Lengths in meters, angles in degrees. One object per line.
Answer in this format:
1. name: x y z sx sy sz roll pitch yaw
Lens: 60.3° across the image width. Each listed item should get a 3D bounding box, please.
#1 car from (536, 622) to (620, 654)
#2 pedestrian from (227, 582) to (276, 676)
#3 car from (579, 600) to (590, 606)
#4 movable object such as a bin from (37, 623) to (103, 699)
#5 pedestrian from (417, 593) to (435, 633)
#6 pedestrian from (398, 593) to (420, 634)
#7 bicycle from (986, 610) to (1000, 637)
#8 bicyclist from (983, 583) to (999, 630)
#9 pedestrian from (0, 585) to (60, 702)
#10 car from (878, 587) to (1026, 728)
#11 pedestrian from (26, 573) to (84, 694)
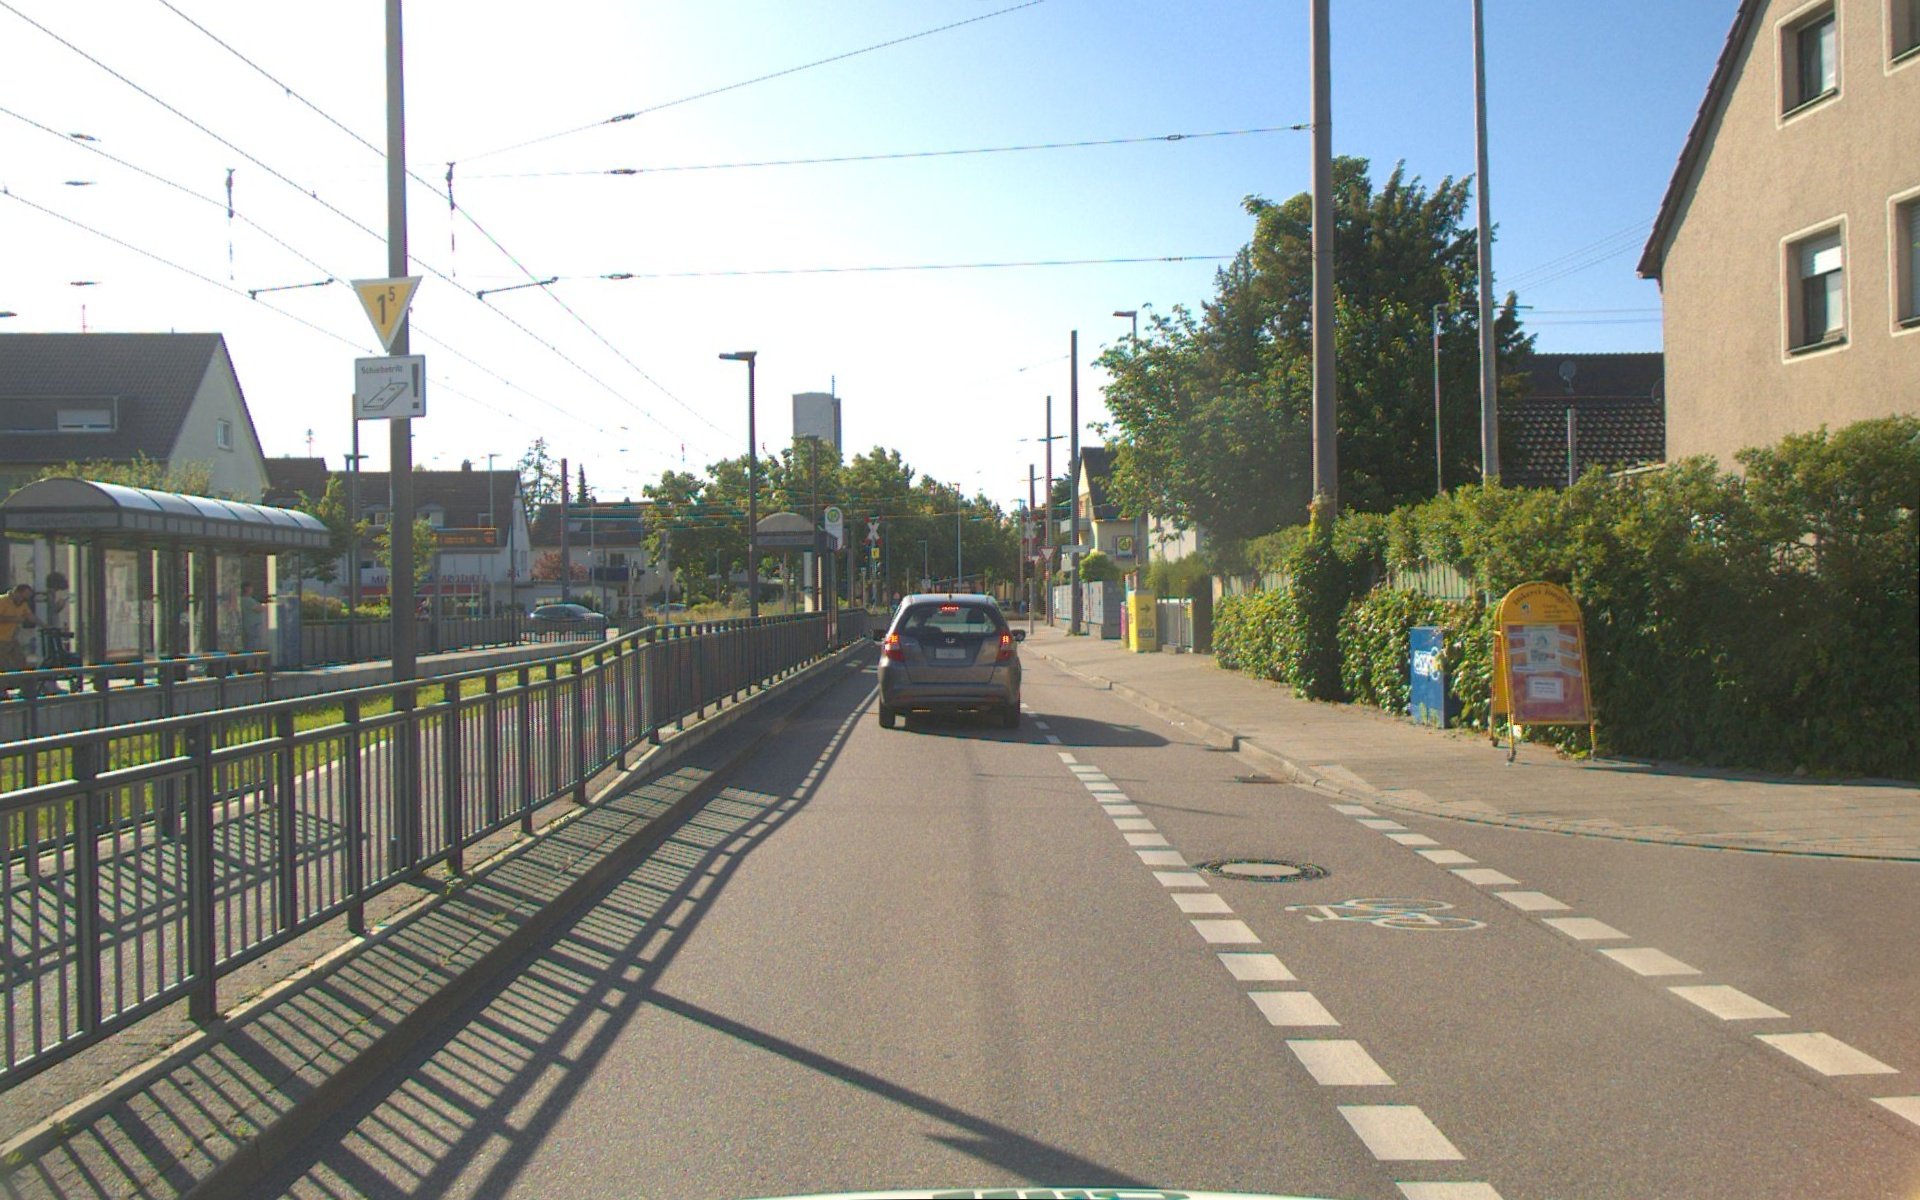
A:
1. car: -19.384 1.893 83.840 3.909 1.556 1.806 0 -1 27
2. pedestrian: -13.362 0.537 31.211 0.490 1.726 0.771 -3 0 0
3. car: -25.759 0.206 113.506 0.684 0.342 0.329 0 -1 4
4. movable object such as a bin: -12.224 0.833 22.734 0.535 1.005 0.741 -1 0 -5
5. pedestrian: -24.088 0.586 74.640 0.581 1.763 0.689 -1 0 -3
6. pedestrian: -24.323 0.576 72.991 0.714 1.793 0.771 -1 0 -3
7. bicycle: 1.221 0.879 61.070 0.465 0.978 1.657 0 -1 0
8. bicyclist: 1.139 0.247 60.867 0.586 1.731 0.683 0 -1 -1
9. pedestrian: -12.827 0.587 22.599 0.662 1.562 0.748 -1 0 -5
10. car: -0.136 0.634 20.134 1.637 1.562 3.486 0 0 -2
11. pedestrian: -13.170 0.480 24.079 0.509 1.738 0.580 -1 0 -5
